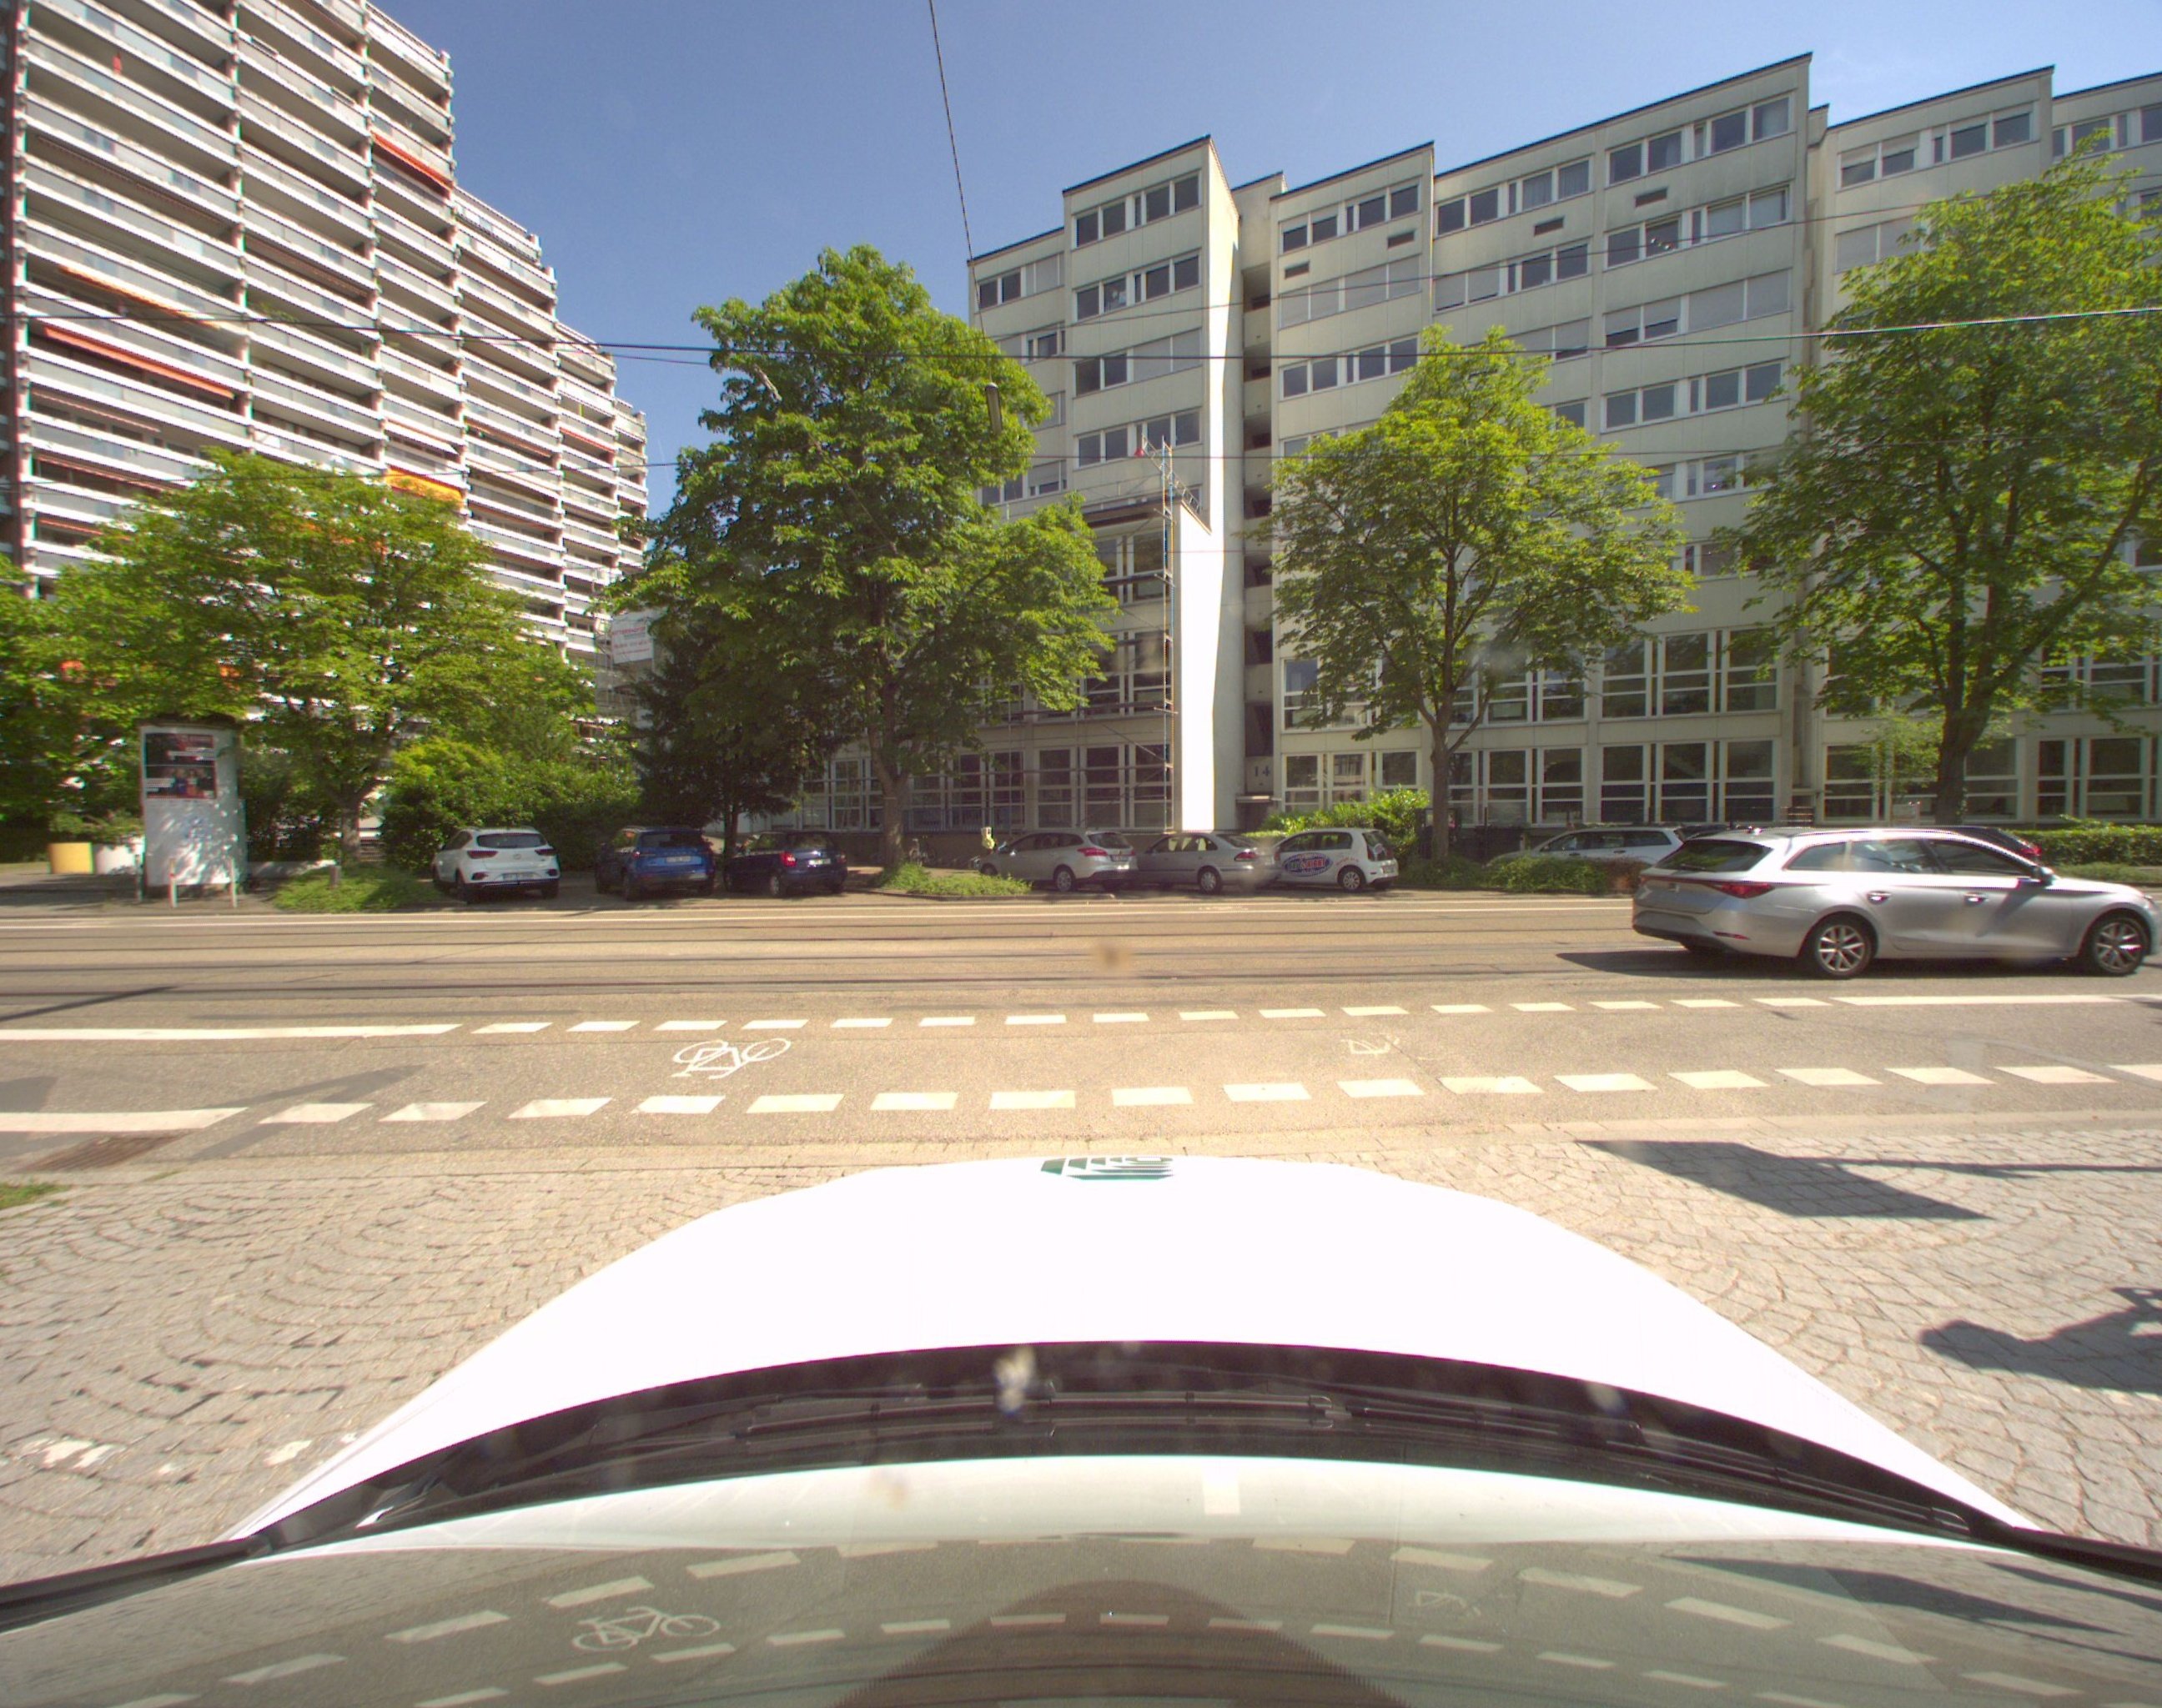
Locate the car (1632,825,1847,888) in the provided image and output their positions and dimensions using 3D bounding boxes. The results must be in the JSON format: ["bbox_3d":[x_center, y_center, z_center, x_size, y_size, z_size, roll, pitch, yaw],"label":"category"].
[{"bbox_3d":[15.704,0.010,19.542,3.896,1.357,1.568,1,2,44],"label":"car"}]

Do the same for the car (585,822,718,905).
[{"bbox_3d":[-10.028,0.119,18.884,1.790,1.622,3.899,-3,4,-42],"label":"car"}]

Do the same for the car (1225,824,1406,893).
[{"bbox_3d":[5.586,0.085,19.678,1.623,1.486,3.896,-2,2,-45],"label":"car"}]

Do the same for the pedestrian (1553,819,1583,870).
[{"bbox_3d":[14.194,-0.285,23.723,0.618,1.460,0.424,-1,1,-4],"label":"pedestrian"}]

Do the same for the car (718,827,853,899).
[{"bbox_3d":[-6.944,0.144,18.978,3.415,1.530,1.586,1,2,44],"label":"car"}]

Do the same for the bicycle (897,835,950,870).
[{"bbox_3d":[-5.183,-0.060,26.949,0.735,1.085,2.214,0,2,18],"label":"bicycle"}]

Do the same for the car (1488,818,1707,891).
[{"bbox_3d":[12.408,-0.024,19.723,4.289,1.604,1.568,1,1,41],"label":"car"}]

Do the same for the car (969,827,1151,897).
[{"bbox_3d":[-0.603,0.122,19.570,4.380,1.486,1.795,1,2,44],"label":"car"}]

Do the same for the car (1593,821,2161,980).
[{"bbox_3d":[8.267,0.394,8.606,4.566,1.407,1.892,-1,3,-2],"label":"car"}]

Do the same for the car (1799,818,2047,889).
[{"bbox_3d":[19.433,-0.066,19.036,3.896,1.486,1.568,1,2,44],"label":"car"}]

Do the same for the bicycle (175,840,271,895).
[{"bbox_3d":[-21.026,0.322,19.974,1.614,1.308,0.546,-1,1,-7],"label":"bicycle"}]

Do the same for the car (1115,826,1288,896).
[{"bbox_3d":[2.785,0.099,19.372,1.622,1.486,3.897,-2,2,-44],"label":"car"}]

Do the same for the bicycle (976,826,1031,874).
[{"bbox_3d":[-2.457,-0.148,26.084,0.655,1.453,2.103,0,2,30],"label":"bicycle"}]

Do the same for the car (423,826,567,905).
[{"bbox_3d":[-13.447,0.189,18.615,3.895,1.606,1.831,1,2,42],"label":"car"}]
